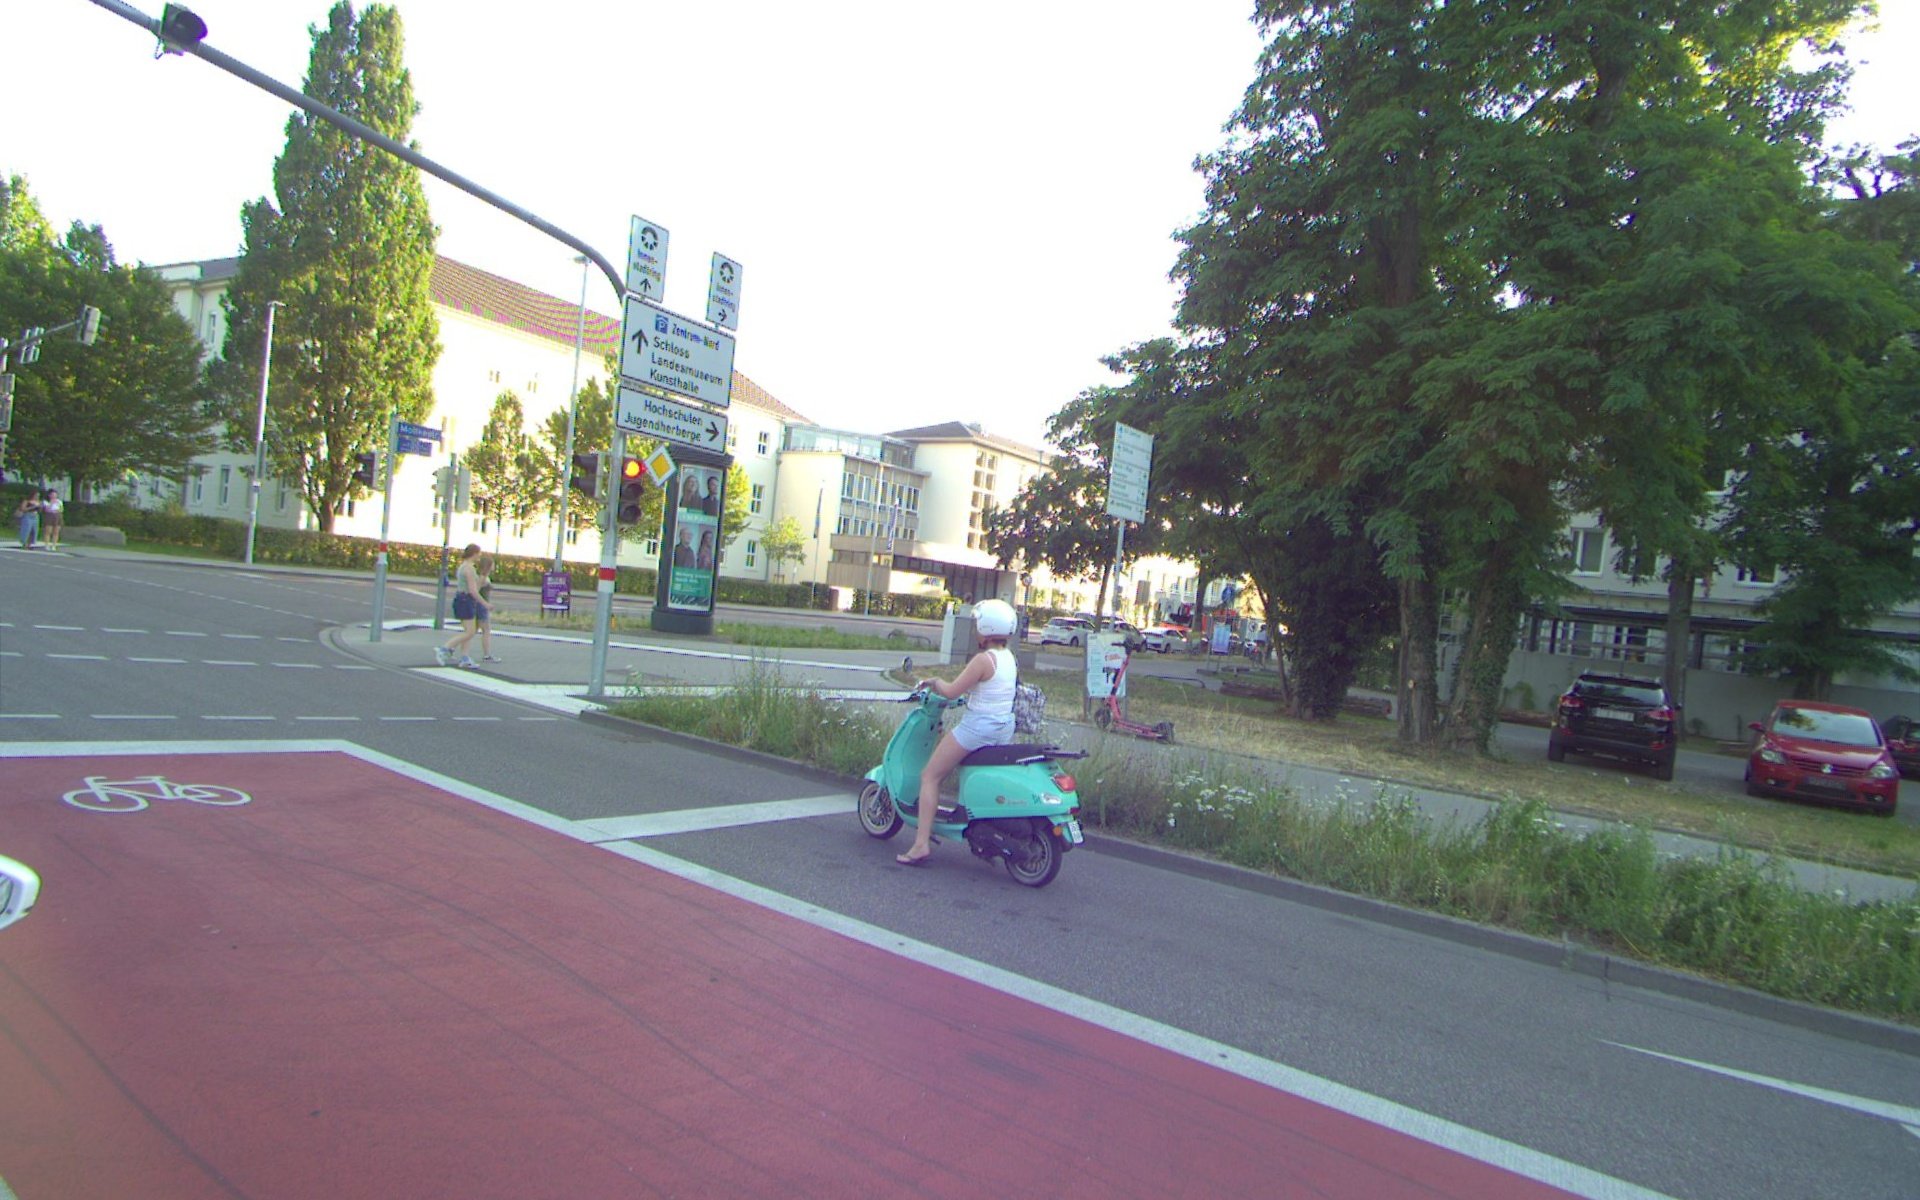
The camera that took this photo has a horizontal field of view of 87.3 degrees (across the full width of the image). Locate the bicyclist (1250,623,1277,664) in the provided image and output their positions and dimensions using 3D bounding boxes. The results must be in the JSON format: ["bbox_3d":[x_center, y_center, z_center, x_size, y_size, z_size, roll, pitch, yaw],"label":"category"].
[{"bbox_3d":[12.449,1.795,41.260,0.563,1.609,0.904,7,1,40],"label":"bicyclist"}]

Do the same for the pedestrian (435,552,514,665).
[{"bbox_3d":[-7.098,0.125,14.712,0.782,1.542,0.729,5,1,-38],"label":"pedestrian"}]

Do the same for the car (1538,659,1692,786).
[{"bbox_3d":[11.769,2.091,17.952,1.890,1.762,4.223,7,0,37],"label":"car"}]

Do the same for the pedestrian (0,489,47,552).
[{"bbox_3d":[-26.541,-2.244,28.499,0.831,1.643,0.681,8,2,32],"label":"pedestrian"}]

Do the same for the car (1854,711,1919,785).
[{"bbox_3d":[22.996,3.583,24.042,1.742,1.477,3.618,7,0,33],"label":"car"}]

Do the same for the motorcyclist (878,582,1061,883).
[{"bbox_3d":[0.066,0.820,6.493,0.680,1.758,0.737,7,1,40],"label":"motorcyclist"}]

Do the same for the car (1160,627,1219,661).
[{"bbox_3d":[13.720,2.652,59.967,1.969,1.660,3.987,7,0,35],"label":"car"}]

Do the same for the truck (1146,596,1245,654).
[{"bbox_3d":[15.924,1.774,67.366,2.599,3.179,10.243,6,0,35],"label":"truck"}]

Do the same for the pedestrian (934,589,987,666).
[{"bbox_3d":[0.020,0.665,24.132,0.694,1.761,0.892,7,1,40],"label":"pedestrian"}]

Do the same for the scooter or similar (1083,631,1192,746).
[{"bbox_3d":[2.244,1.105,12.769,1.159,1.288,0.440,7,1,31],"label":"scooter or similar"}]

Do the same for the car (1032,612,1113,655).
[{"bbox_3d":[5.380,1.605,47.740,1.872,1.660,3.983,7,0,38],"label":"car"}]

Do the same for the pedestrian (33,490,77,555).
[{"bbox_3d":[-26.179,-2.242,29.112,0.677,1.776,0.681,8,2,31],"label":"pedestrian"}]

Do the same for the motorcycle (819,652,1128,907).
[{"bbox_3d":[0.031,1.066,6.495,1.866,1.212,0.681,7,0,40],"label":"motorcycle"}]

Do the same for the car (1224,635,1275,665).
[{"bbox_3d":[19.656,3.403,68.204,1.969,1.660,3.987,7,0,35],"label":"car"}]

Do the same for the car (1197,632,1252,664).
[{"bbox_3d":[16.733,3.032,63.527,1.969,1.660,3.987,7,0,35],"label":"car"}]

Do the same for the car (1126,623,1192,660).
[{"bbox_3d":[10.946,2.310,55.217,1.969,1.660,3.987,7,0,35],"label":"car"}]

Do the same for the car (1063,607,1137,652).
[{"bbox_3d":[7.733,1.647,55.276,2.024,1.884,4.486,7,-2,35],"label":"car"}]

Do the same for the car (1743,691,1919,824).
[{"bbox_3d":[14.050,2.421,16.375,1.890,1.631,3.984,7,0,38],"label":"car"}]

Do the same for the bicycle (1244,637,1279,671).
[{"bbox_3d":[12.396,2.235,41.296,0.563,1.256,1.891,7,0,40],"label":"bicycle"}]

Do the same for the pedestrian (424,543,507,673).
[{"bbox_3d":[-6.797,0.112,13.827,0.770,1.681,0.714,5,2,-38],"label":"pedestrian"}]

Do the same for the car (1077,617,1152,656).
[{"bbox_3d":[7.902,1.869,51.233,1.970,1.632,3.985,7,0,37],"label":"car"}]
